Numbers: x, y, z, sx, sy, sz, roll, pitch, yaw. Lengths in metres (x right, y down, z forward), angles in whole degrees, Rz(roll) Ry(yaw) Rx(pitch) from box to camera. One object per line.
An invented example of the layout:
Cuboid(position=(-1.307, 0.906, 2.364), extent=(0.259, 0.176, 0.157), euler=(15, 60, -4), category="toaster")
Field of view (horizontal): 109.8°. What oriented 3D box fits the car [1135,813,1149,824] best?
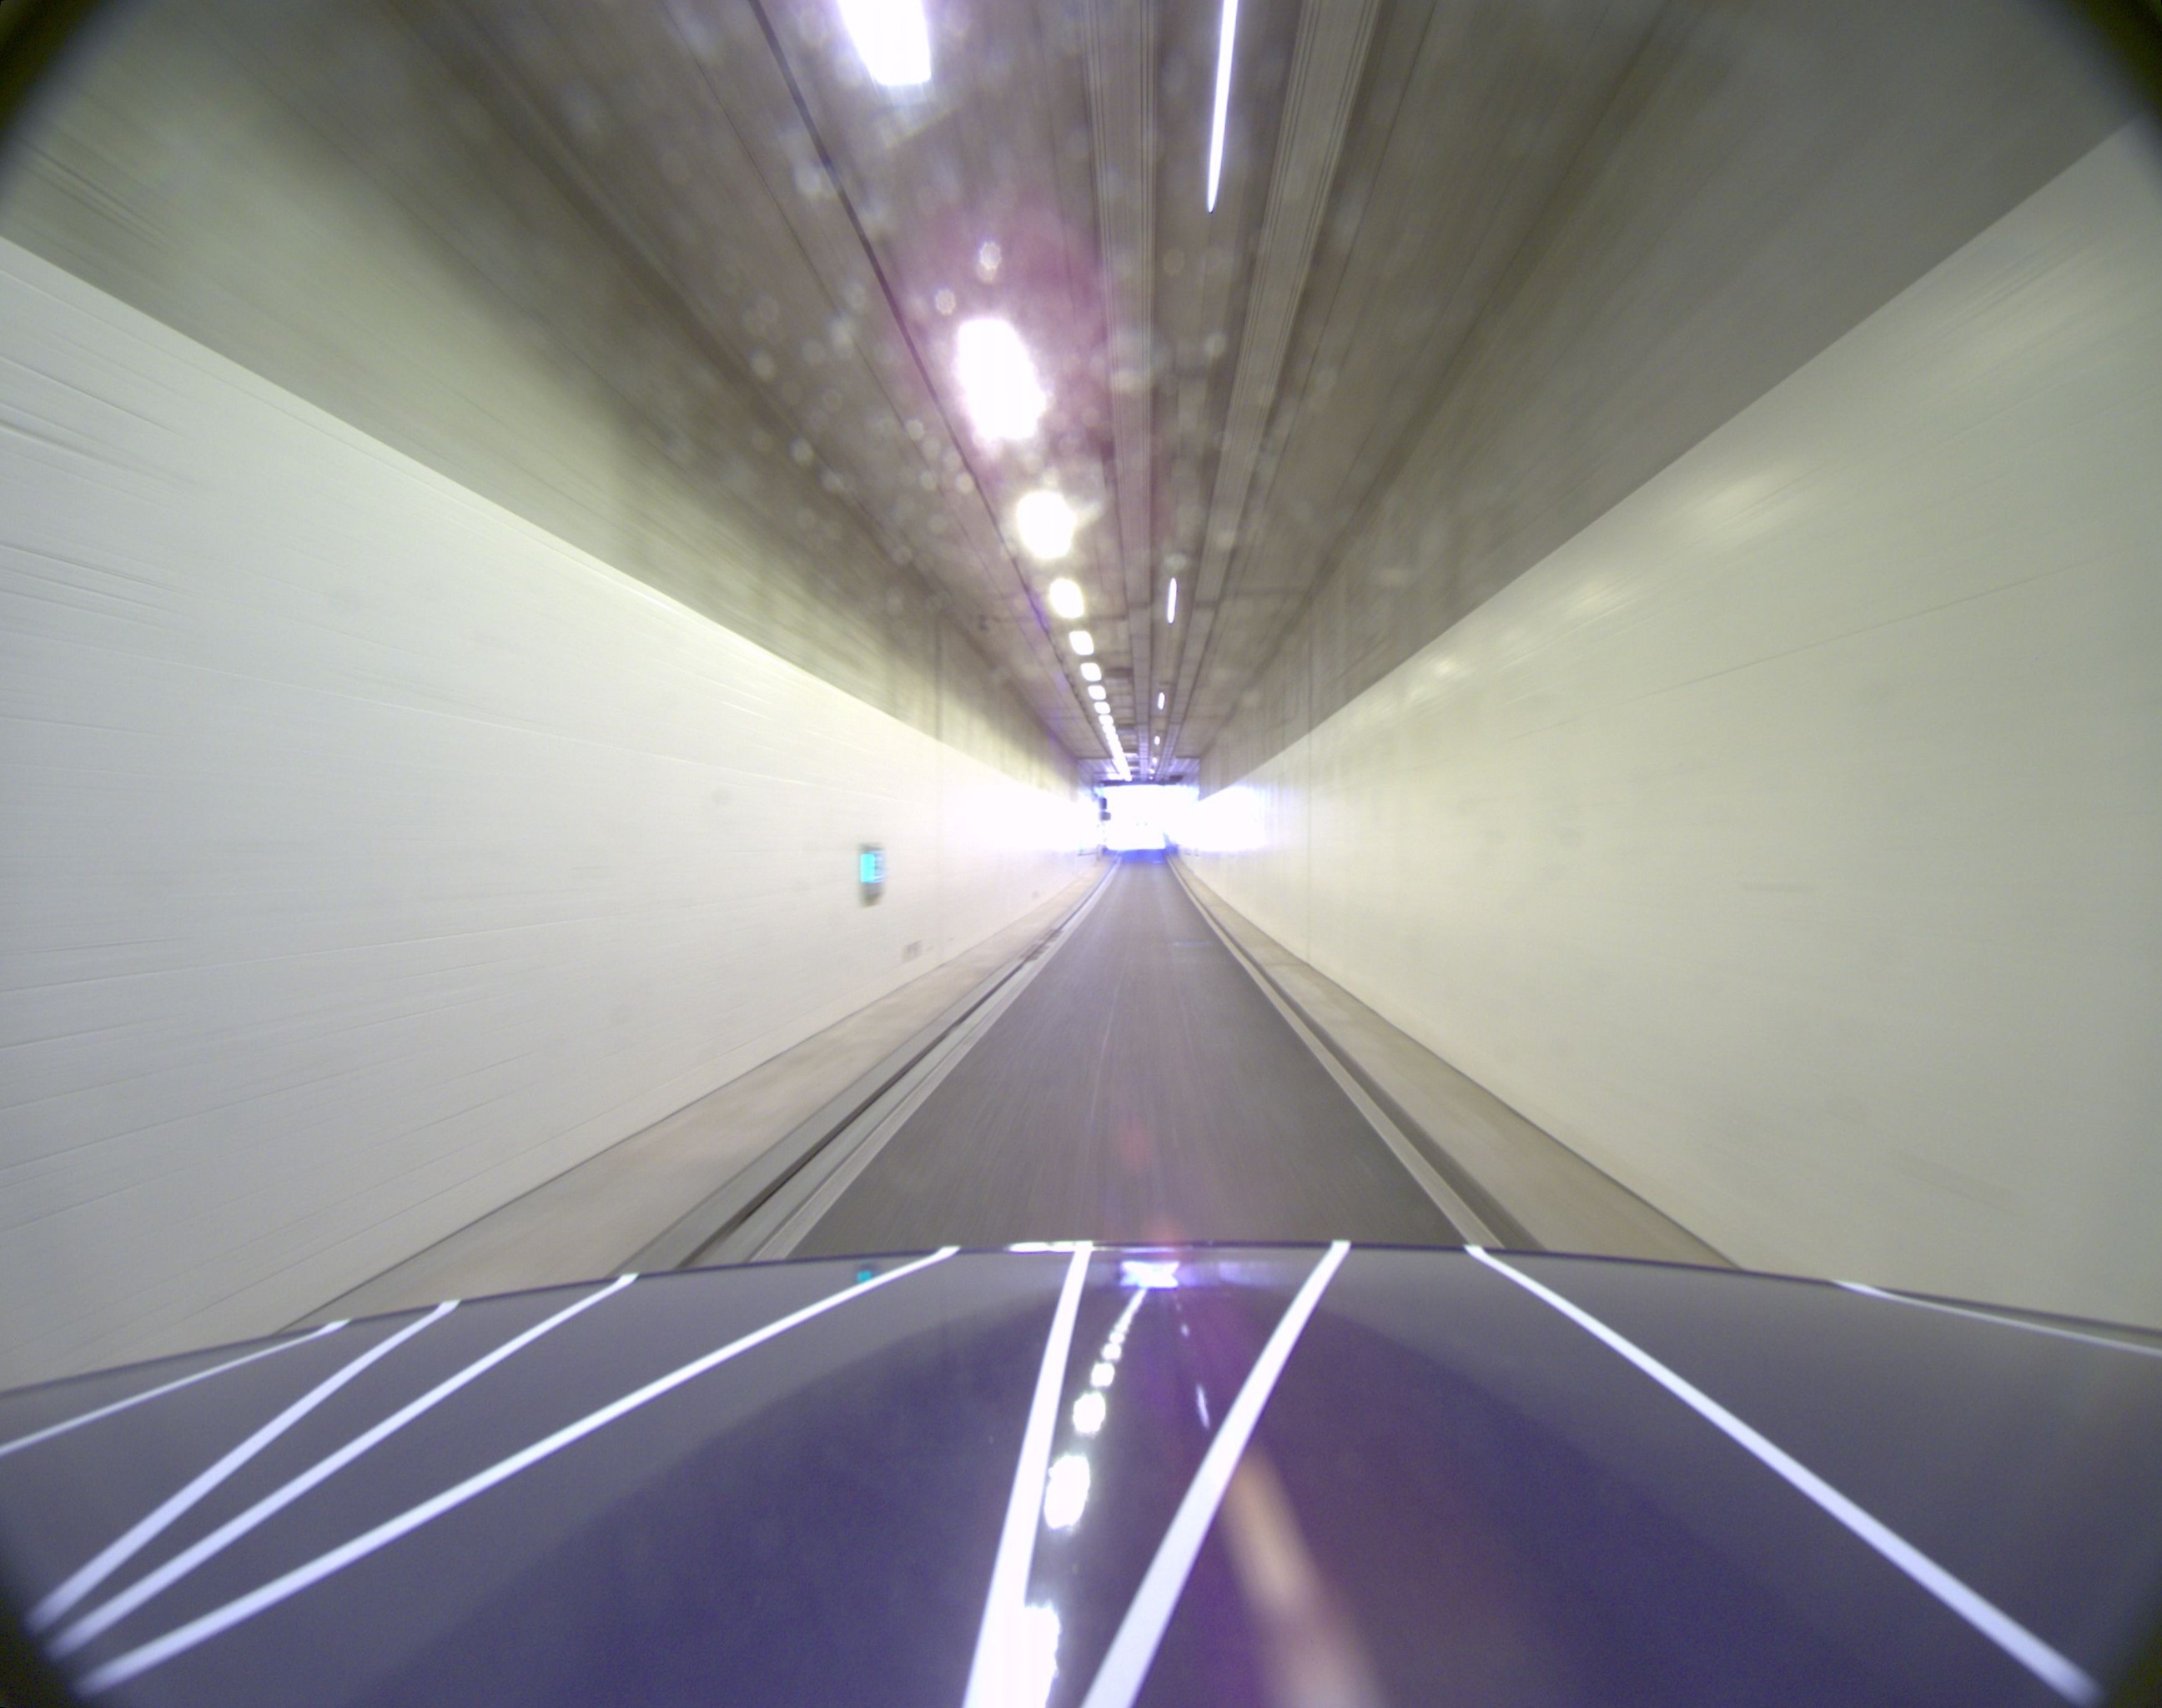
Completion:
Cuboid(position=(8.130, -4.685, 100.629), extent=(1.829, 1.328, 4.001), euler=(0, 1, 5), category="car")
